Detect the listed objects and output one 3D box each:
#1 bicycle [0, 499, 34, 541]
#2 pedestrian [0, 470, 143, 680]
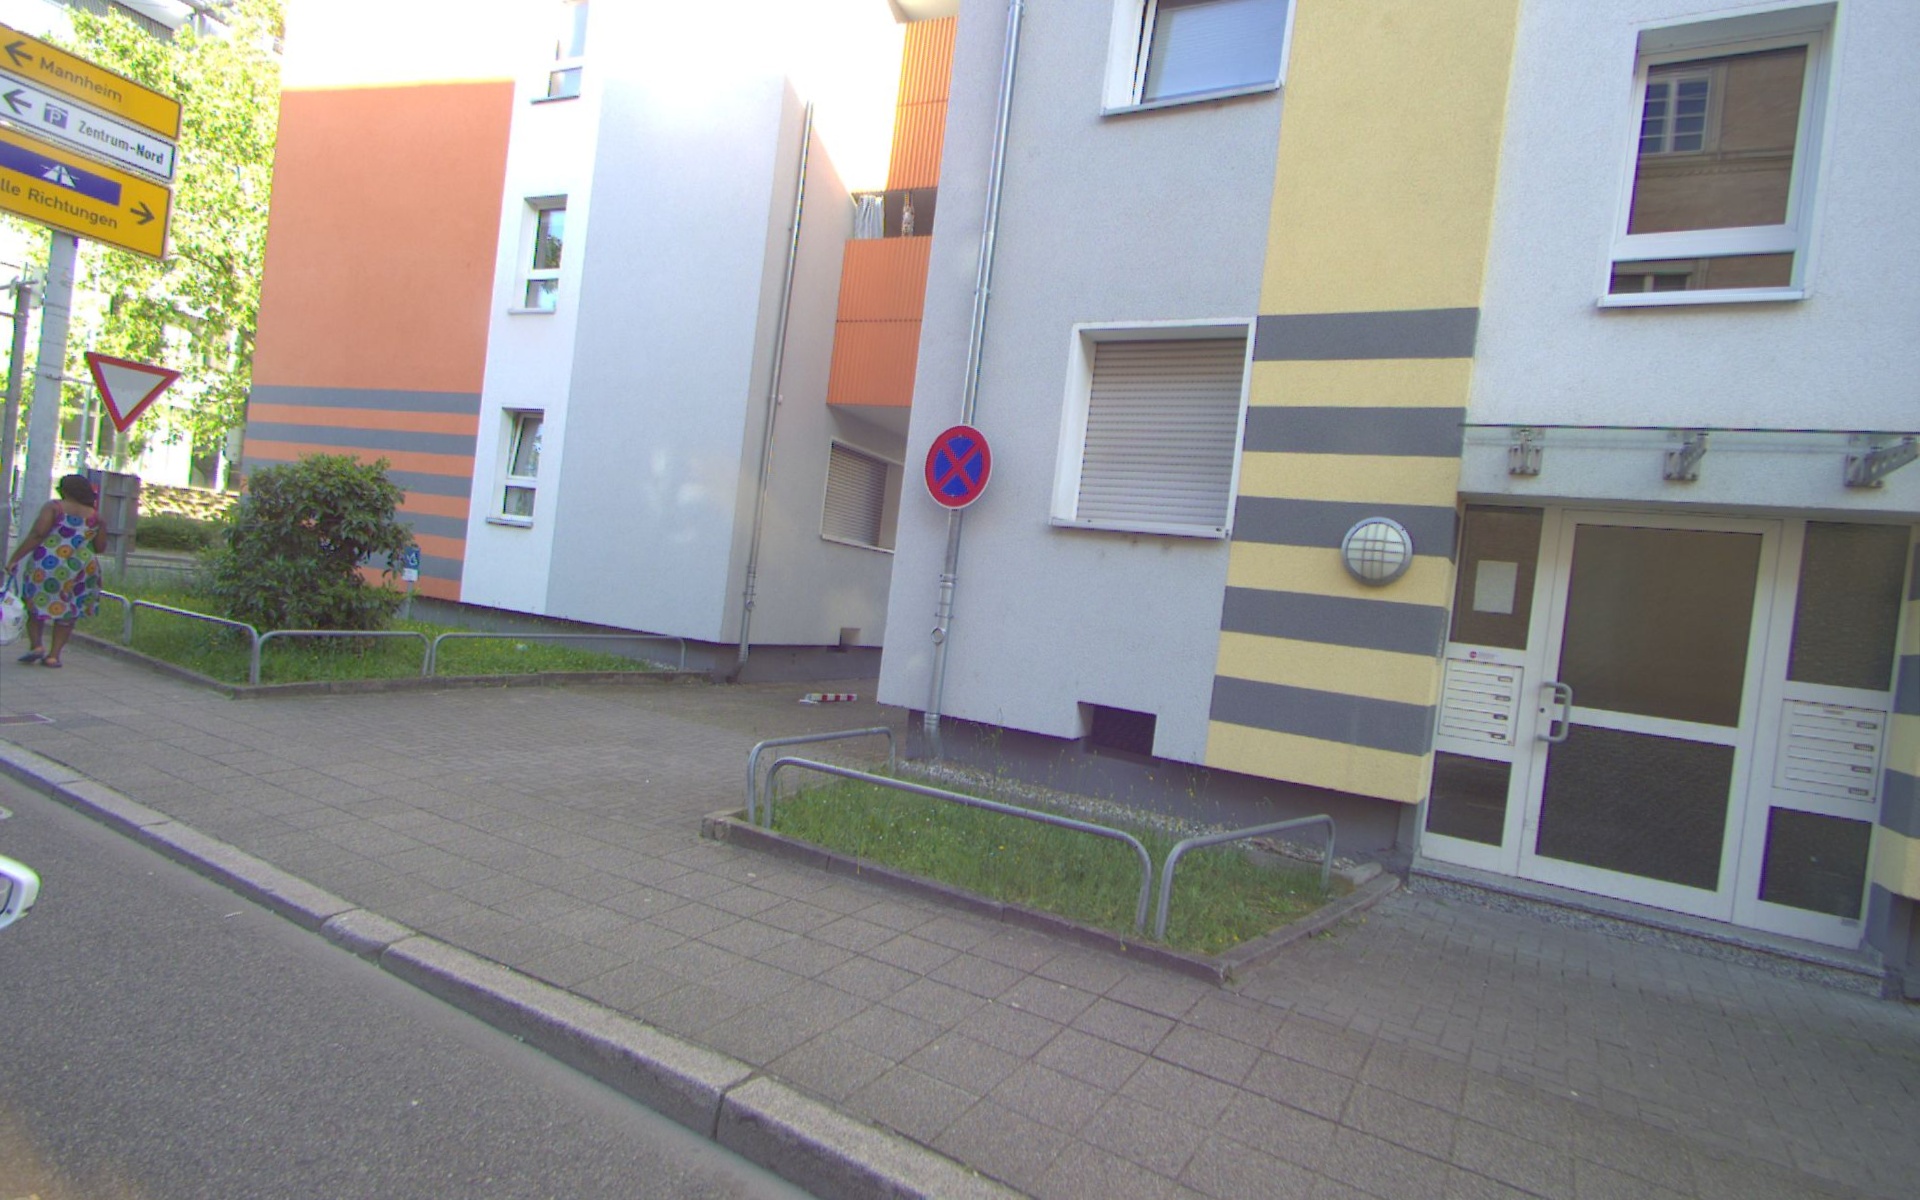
[{"bbox_3d":[-26.431,-2.253,27.296,1.883,1.062,0.463,7,1,-10],"label":"bicycle"},{"bbox_3d":[-7.406,-0.214,8.182,0.738,1.595,0.954,7,4,31],"label":"pedestrian"}]
